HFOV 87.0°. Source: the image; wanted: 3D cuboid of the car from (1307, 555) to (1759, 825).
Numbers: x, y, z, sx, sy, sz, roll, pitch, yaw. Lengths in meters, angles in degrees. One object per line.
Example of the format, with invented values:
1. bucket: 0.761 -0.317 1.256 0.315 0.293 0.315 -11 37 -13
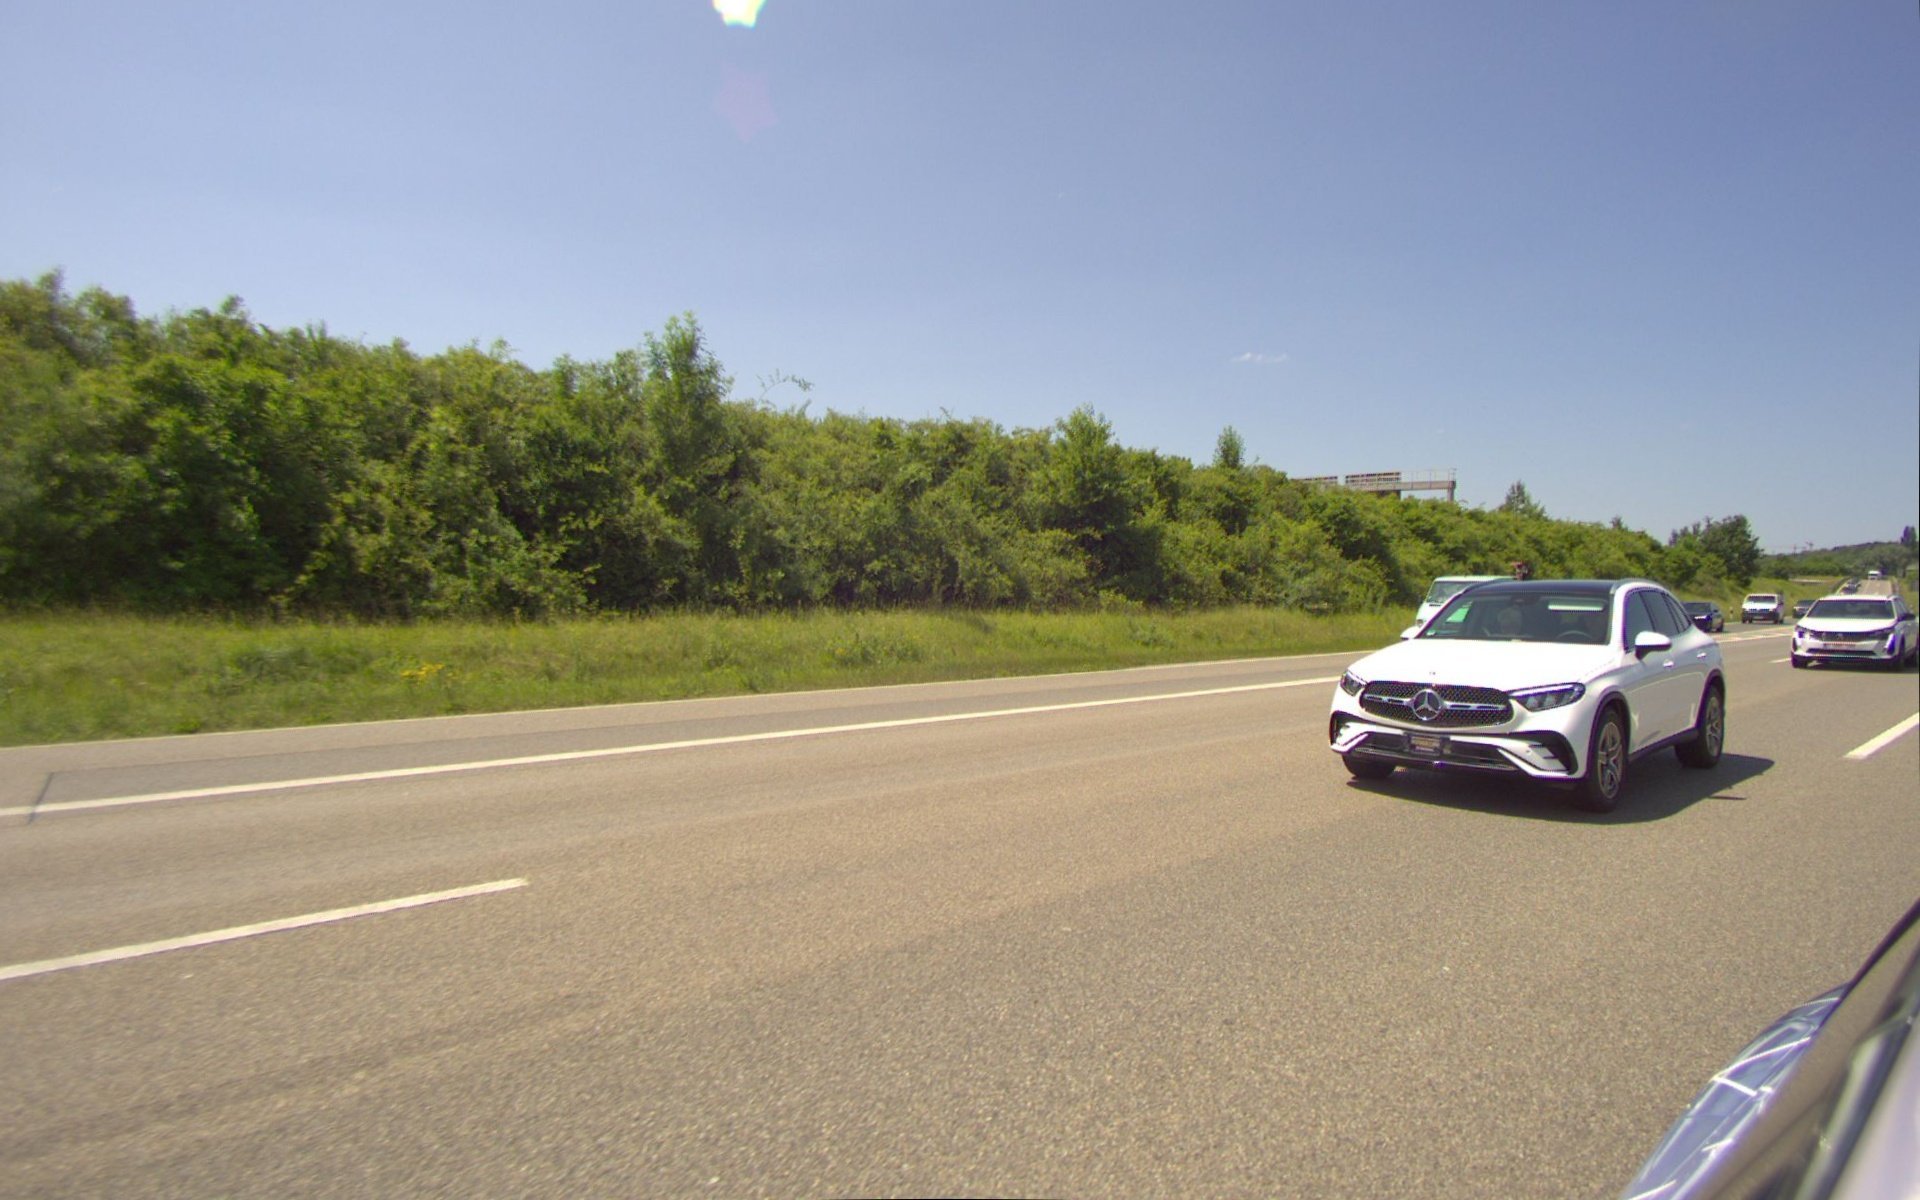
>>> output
1. car: 4.992 0.563 8.514 4.555 1.677 1.908 0 0 -41

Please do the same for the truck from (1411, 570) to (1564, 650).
1. truck: 15.586 0.217 29.709 6.016 2.118 2.167 0 1 -44

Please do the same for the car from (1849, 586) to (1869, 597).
1. car: 146.528 -1.429 164.892 4.539 1.650 1.980 -1 1 -43

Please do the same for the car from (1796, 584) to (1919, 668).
1. car: 20.314 0.505 22.566 4.538 1.650 1.896 -1 1 -42

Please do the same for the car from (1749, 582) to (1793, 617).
1. car: 52.537 -0.040 65.535 1.992 2.199 4.819 1 0 42
